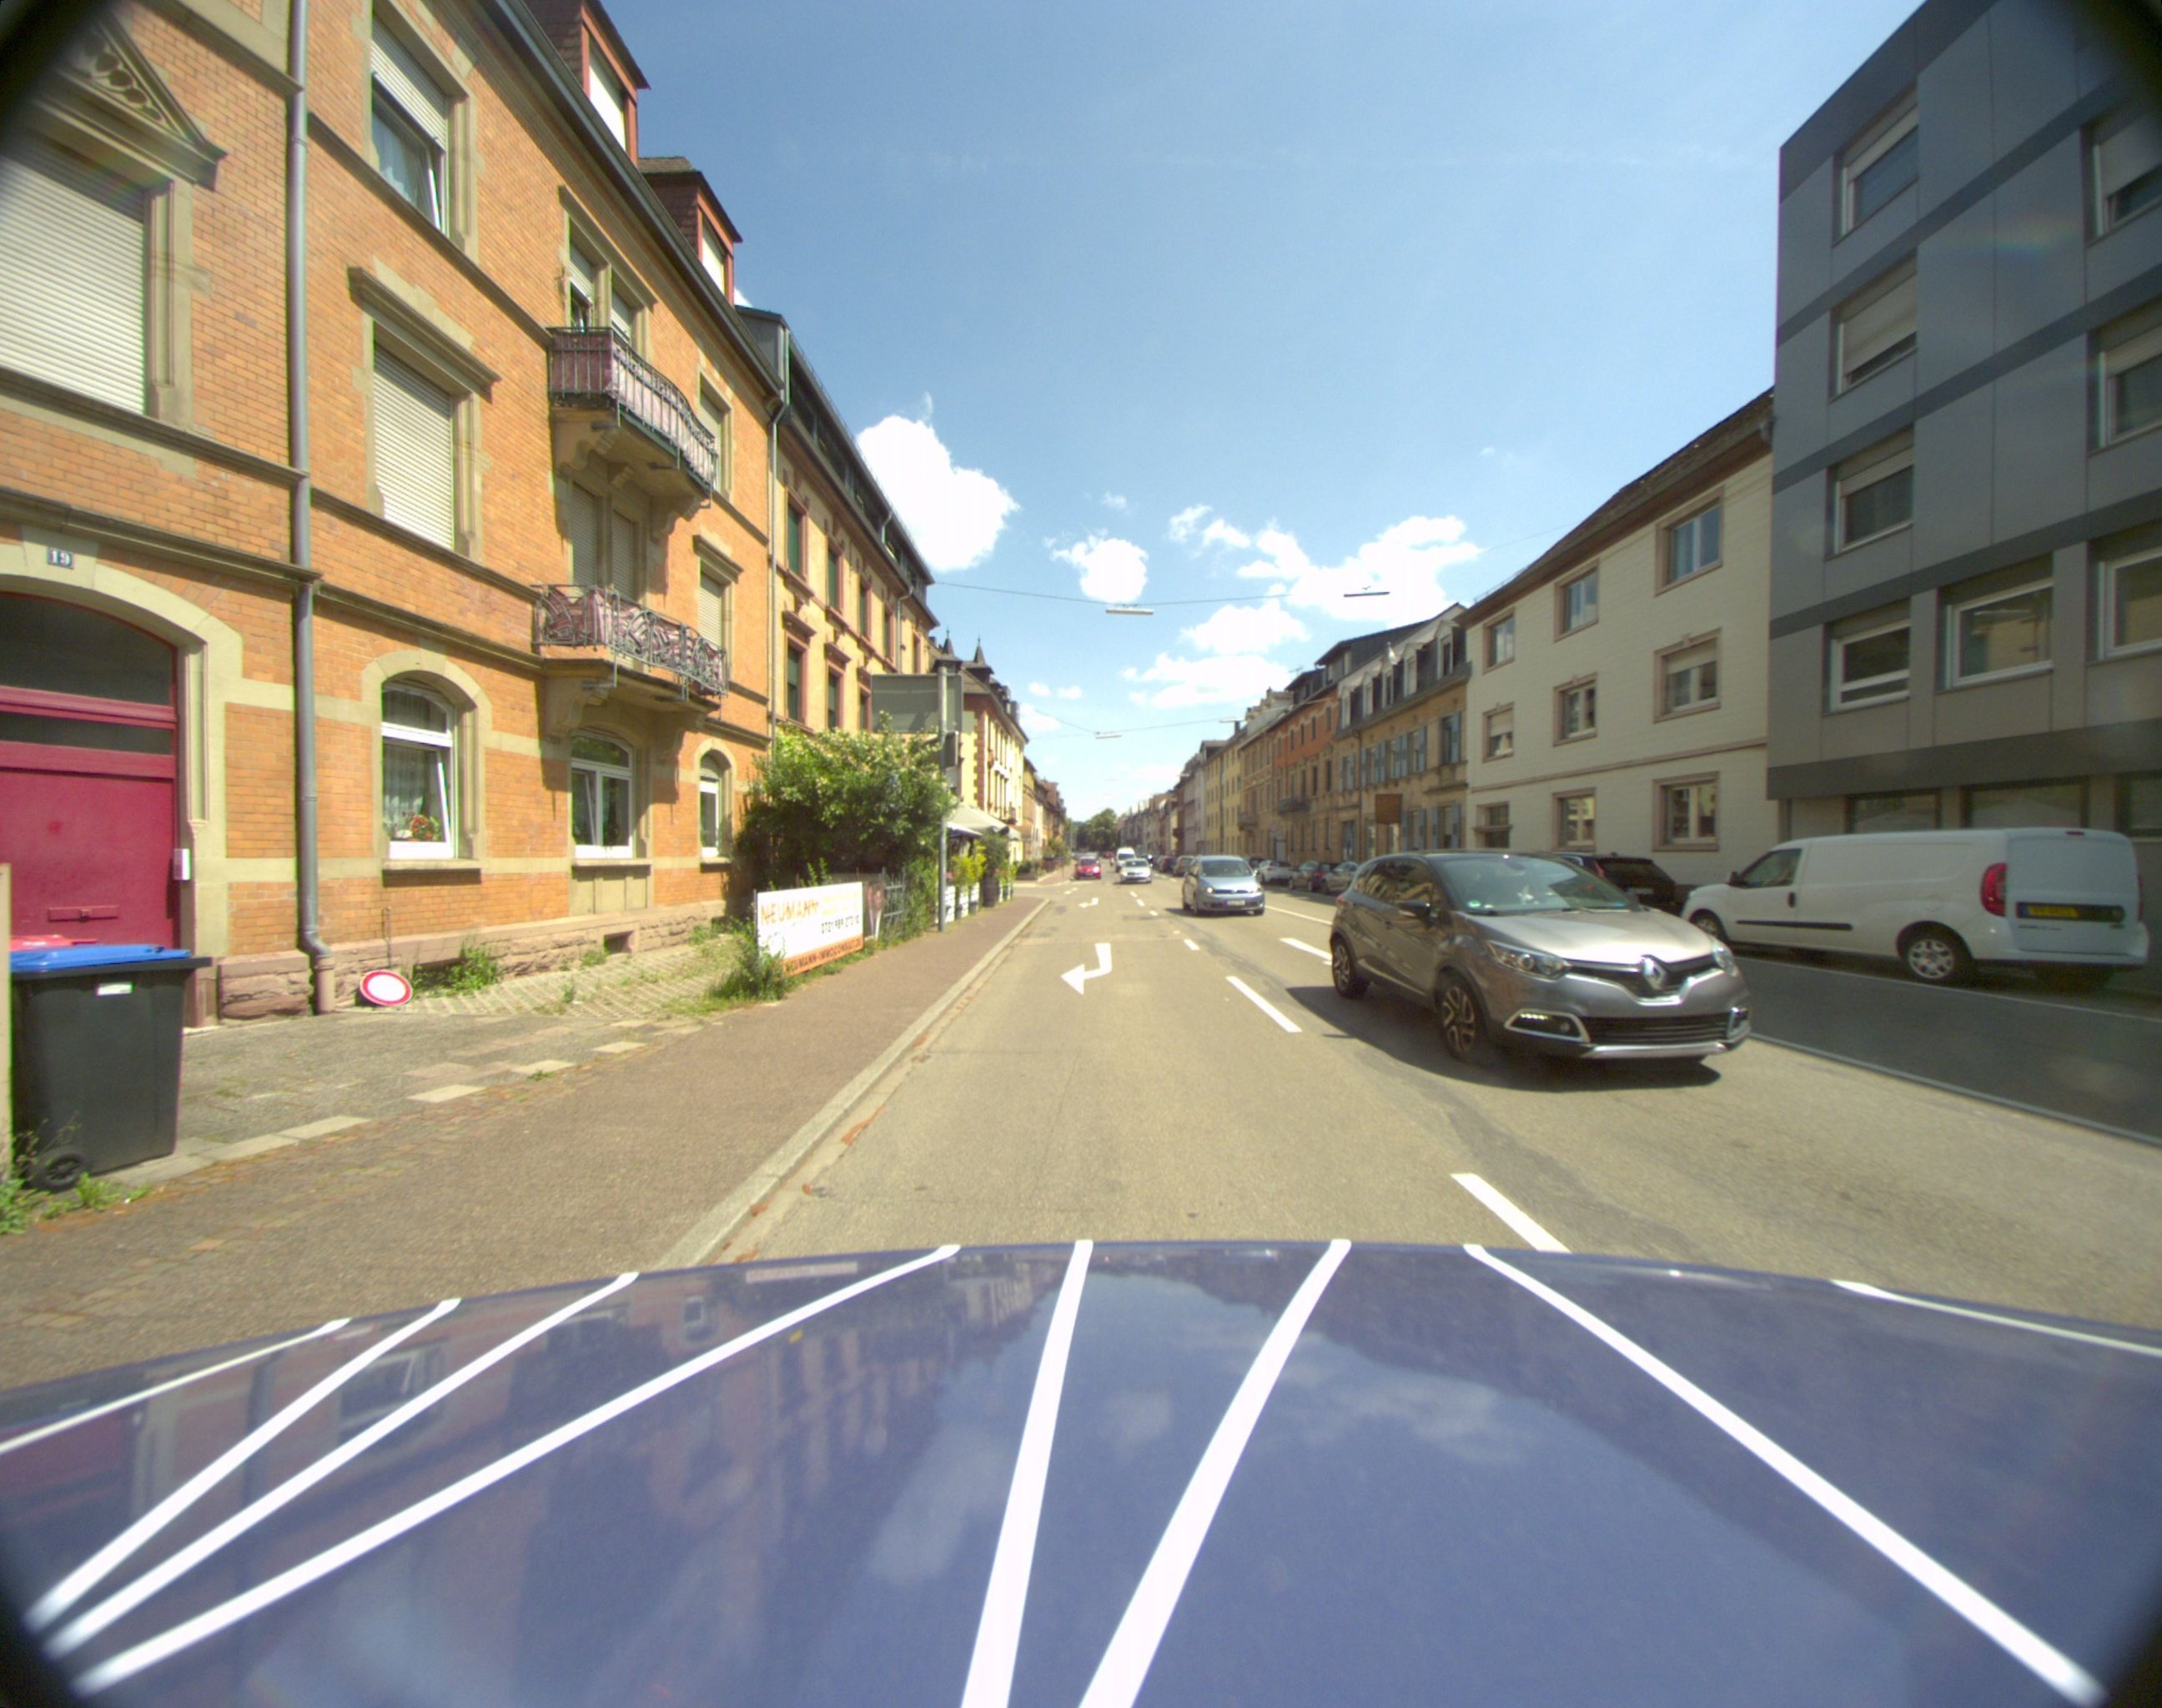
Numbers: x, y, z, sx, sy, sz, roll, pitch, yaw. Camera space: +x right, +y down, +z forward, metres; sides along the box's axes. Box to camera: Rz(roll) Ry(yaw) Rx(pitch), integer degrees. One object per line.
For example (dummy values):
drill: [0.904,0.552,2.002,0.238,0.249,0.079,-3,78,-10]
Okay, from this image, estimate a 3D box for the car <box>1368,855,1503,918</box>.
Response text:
car: [10.496,0.879,22.942,1.889,1.631,4.818,1,0,1]

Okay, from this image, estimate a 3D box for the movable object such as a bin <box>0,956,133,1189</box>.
movable object such as a bin: [-5.520,1.099,3.851,0.552,1.065,0.706,0,0,10]

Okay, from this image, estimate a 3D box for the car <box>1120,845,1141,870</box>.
car: [4.596,0.307,70.832,1.904,2.261,5.673,0,0,3]

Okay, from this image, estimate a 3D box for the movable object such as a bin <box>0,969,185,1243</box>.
movable object such as a bin: [-4.866,1.123,3.544,0.650,1.065,0.637,0,0,11]

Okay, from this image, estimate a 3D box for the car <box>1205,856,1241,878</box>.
car: [11.270,0.966,60.450,1.870,1.542,4.500,3,0,-1]

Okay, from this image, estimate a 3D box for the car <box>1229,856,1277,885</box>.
car: [10.976,0.994,48.772,1.870,1.618,4.499,3,0,-1]

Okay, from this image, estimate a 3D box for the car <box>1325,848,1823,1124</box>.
car: [3.588,0.801,6.548,1.758,1.622,4.000,-1,0,1]

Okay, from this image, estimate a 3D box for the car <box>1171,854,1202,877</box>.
car: [7.716,0.823,55.964,1.706,1.565,4.312,1,0,1]

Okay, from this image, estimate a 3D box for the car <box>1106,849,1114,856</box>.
car: [6.624,-0.429,172.944,1.708,1.470,3.931,-2,0,0]

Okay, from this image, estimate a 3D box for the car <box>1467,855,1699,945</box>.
car: [10.581,0.865,16.543,1.890,1.631,4.662,1,0,-1]

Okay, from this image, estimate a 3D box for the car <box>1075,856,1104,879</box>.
car: [0.552,0.916,53.339,1.762,1.470,3.783,-2,0,-2]

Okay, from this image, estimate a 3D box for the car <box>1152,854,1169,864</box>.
car: [11.592,0.700,111.244,1.749,1.403,4.103,3,0,-2]

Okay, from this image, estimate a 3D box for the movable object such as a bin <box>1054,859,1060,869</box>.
movable object such as a bin: [-2.271,0.920,71.945,0.626,0.923,0.612,0,1,0]

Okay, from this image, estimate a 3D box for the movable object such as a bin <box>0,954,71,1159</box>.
movable object such as a bin: [-6.105,1.109,4.030,0.576,1.065,0.706,0,0,10]

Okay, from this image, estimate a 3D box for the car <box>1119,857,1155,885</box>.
car: [3.253,0.967,45.085,1.904,1.489,4.487,0,0,2]

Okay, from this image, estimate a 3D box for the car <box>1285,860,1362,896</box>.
car: [11.034,1.056,34.914,1.870,1.398,4.329,3,0,-3]

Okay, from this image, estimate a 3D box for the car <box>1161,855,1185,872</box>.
car: [8.125,0.815,67.244,1.706,1.469,4.133,1,0,1]

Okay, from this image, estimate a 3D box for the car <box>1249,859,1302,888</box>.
car: [11.109,1.065,43.631,1.869,1.418,4.330,3,0,0]

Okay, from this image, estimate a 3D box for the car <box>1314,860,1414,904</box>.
car: [10.848,1.026,29.539,1.870,1.398,4.836,3,0,-2]

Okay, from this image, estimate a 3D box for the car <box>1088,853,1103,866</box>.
car: [1.791,0.701,92.685,1.708,1.470,3.931,-2,0,0]

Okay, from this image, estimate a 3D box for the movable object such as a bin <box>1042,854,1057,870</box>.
movable object such as a bin: [-2.783,0.675,67.695,1.285,1.388,1.364,0,1,2]

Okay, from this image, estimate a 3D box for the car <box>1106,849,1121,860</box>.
car: [4.160,0.057,98.390,1.904,1.489,4.487,0,0,1]

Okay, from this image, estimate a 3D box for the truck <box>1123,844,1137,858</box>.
truck: [10.386,-0.653,161.240,2.323,2.725,8.067,0,0,0]

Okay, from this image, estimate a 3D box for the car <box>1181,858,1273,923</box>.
car: [3.825,0.897,20.525,1.758,1.559,4.000,-1,0,1]

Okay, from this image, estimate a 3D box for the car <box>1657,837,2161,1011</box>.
car: [10.722,0.736,10.421,1.919,1.815,4.788,1,0,-1]

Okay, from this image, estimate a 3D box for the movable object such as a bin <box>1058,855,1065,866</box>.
movable object such as a bin: [-2.094,0.728,83.533,0.753,1.235,0.877,0,1,0]

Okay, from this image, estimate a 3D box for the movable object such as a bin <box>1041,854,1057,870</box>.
movable object such as a bin: [-2.793,0.706,66.279,1.285,1.388,1.413,0,1,2]

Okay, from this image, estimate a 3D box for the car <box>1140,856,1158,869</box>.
car: [8.097,1.020,90.861,1.764,1.486,4.245,1,0,0]
